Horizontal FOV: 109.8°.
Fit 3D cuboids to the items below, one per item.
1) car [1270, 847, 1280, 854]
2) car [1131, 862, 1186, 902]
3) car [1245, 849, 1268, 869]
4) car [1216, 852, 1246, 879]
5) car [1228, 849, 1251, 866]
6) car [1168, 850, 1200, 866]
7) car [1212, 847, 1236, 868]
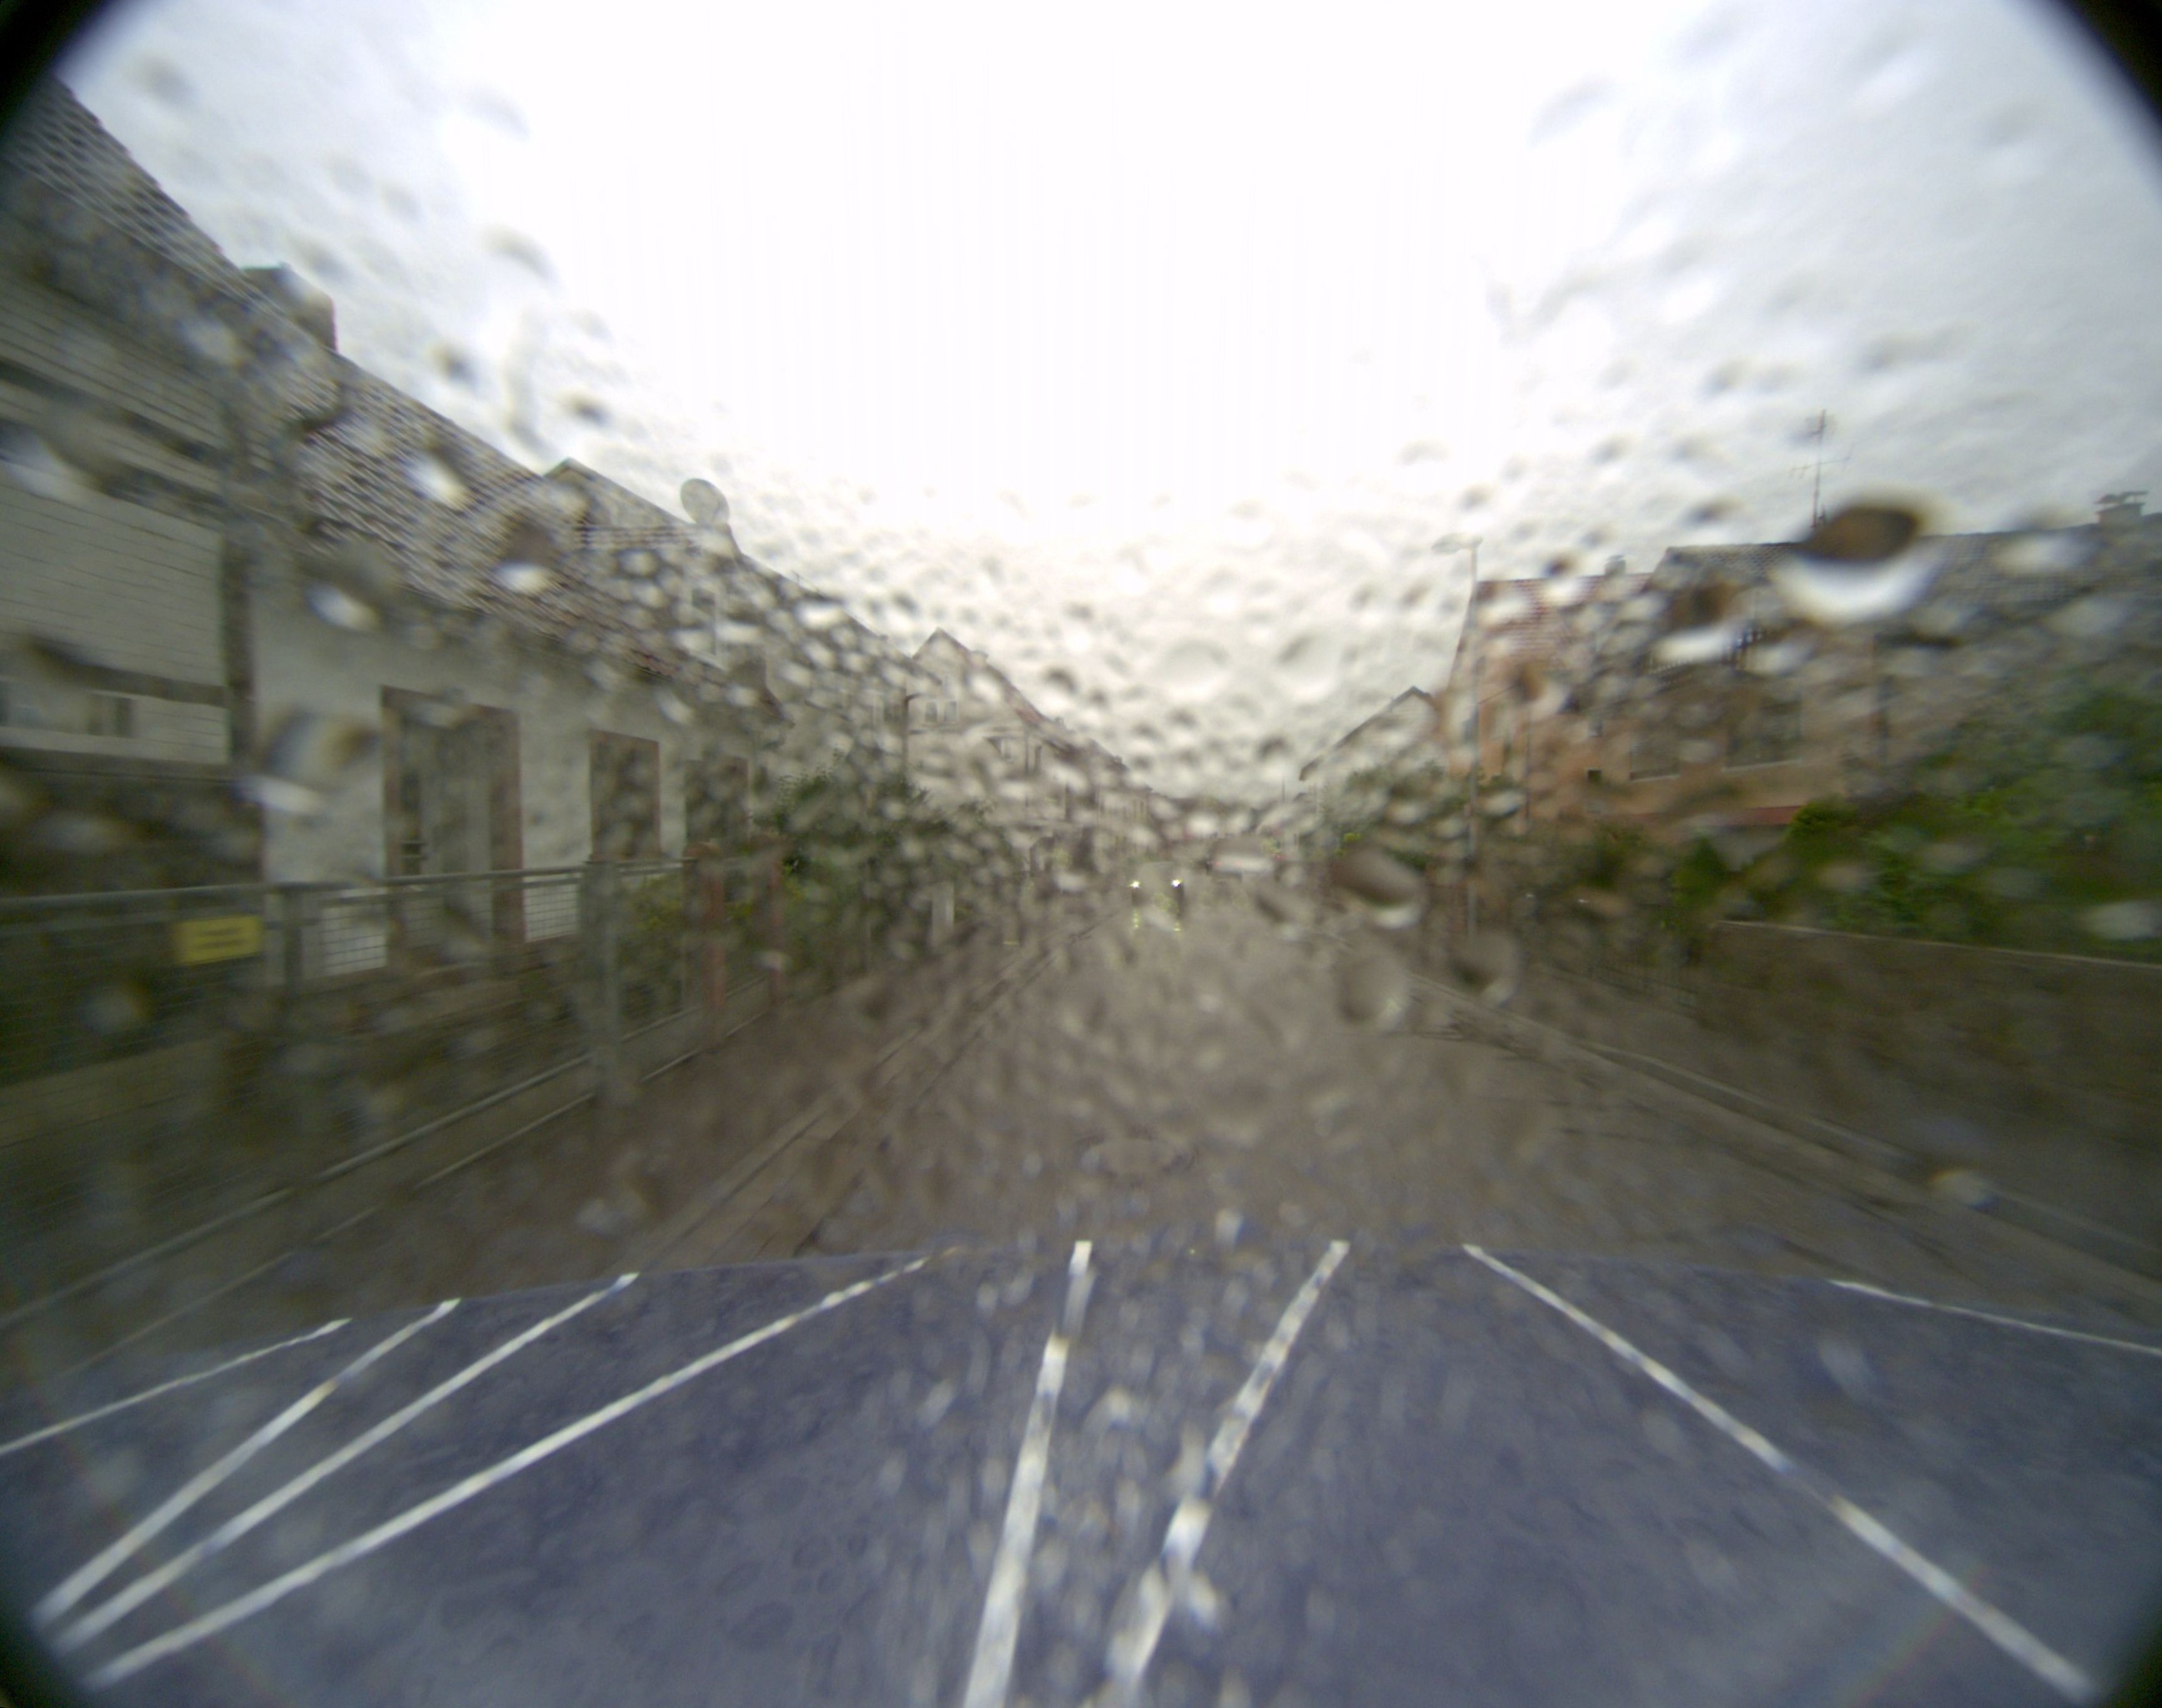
[{"bbox_3d":[40.098,-0.745,157.287,1.858,1.497,4.166,2,2,16],"label":"car"},{"bbox_3d":[2.860,0.985,27.502,1.666,1.290,3.521,-1,0,10],"label":"car"},{"bbox_3d":[16.712,0.449,72.294,1.813,1.674,4.188,2,2,17],"label":"car"},{"bbox_3d":[9.393,0.712,47.818,1.702,1.538,3.854,3,0,10],"label":"car"},{"bbox_3d":[16.172,0.344,77.536,1.813,1.587,4.188,2,2,17],"label":"car"},{"bbox_3d":[10.711,0.407,78.989,1.892,1.566,3.886,-2,1,-15],"label":"car"},{"bbox_3d":[12.049,0.254,63.865,1.837,1.664,5.201,2,1,12],"label":"car"}]
